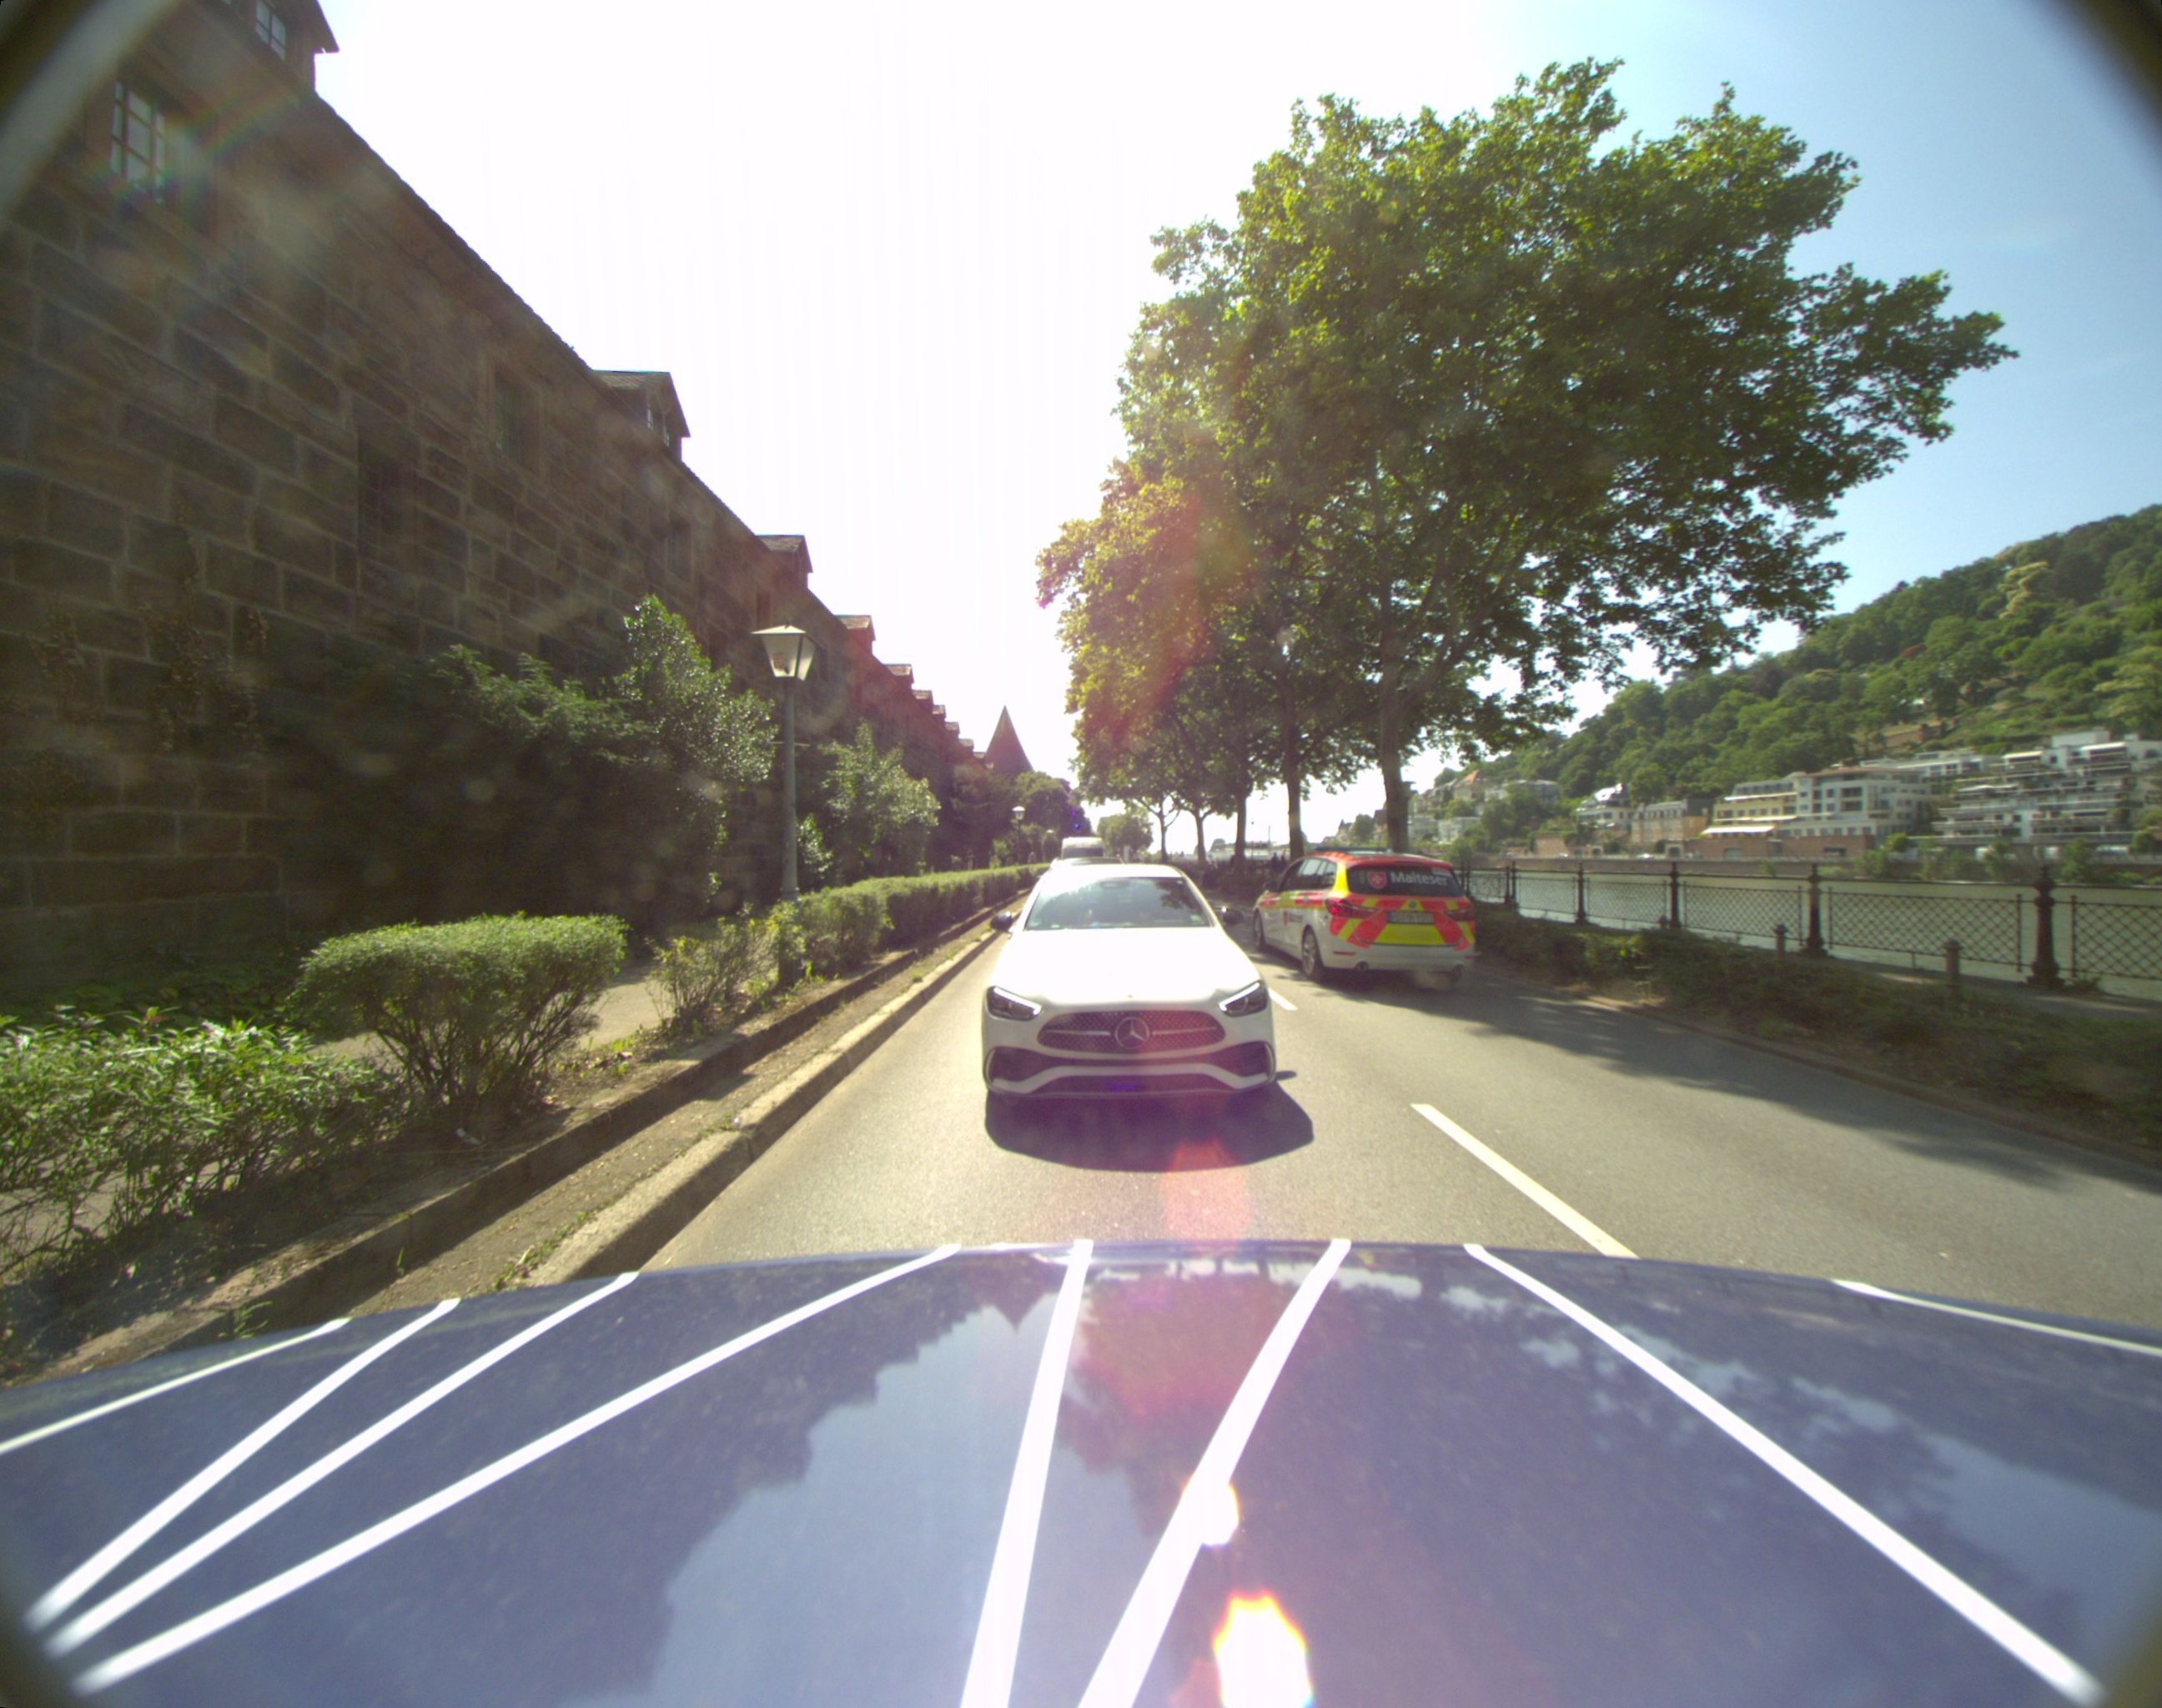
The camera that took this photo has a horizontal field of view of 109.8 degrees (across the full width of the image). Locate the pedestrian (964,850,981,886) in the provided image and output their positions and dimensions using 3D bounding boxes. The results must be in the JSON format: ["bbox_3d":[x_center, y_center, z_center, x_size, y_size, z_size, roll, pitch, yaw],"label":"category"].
[{"bbox_3d":[-4.869,0.625,34.132,0.643,1.555,0.563,-2,1,1],"label":"pedestrian"}]

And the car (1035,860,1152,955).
[{"bbox_3d":[0.231,0.880,14.401,1.833,1.428,4.270,-2,0,1],"label":"car"}]

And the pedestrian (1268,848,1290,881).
[{"bbox_3d":[12.245,0.629,46.945,1.047,2.002,1.036,-1,1,31],"label":"pedestrian"}]

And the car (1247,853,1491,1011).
[{"bbox_3d":[3.582,0.845,10.348,1.677,1.650,4.223,2,0,0],"label":"car"}]

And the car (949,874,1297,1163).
[{"bbox_3d":[0.257,0.946,6.242,1.833,1.395,4.270,-2,0,1],"label":"car"}]

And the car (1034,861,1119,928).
[{"bbox_3d":[-0.075,0.919,19.103,1.833,1.395,4.424,-2,0,1],"label":"car"}]

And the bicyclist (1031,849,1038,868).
[{"bbox_3d":[-3.750,0.378,61.412,0.550,1.513,0.583,-2,1,-1],"label":"bicyclist"}]

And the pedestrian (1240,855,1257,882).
[{"bbox_3d":[10.570,0.908,48.093,0.897,1.625,1.059,-2,1,6],"label":"pedestrian"}]

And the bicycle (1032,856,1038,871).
[{"bbox_3d":[-3.728,0.772,61.354,0.406,1.169,1.576,-2,1,-2],"label":"bicycle"}]

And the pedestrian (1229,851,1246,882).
[{"bbox_3d":[9.786,0.772,47.633,0.806,1.839,0.929,-2,1,1],"label":"pedestrian"}]

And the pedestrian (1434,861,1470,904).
[{"bbox_3d":[12.012,0.908,24.593,0.768,1.379,0.770,1,0,0],"label":"pedestrian"}]

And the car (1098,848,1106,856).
[{"bbox_3d":[5.962,-0.575,216.424,2.165,2.002,4.000,-2,1,1],"label":"car"}]

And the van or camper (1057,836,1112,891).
[{"bbox_3d":[0.150,0.407,35.422,2.313,2.358,5.035,1,0,0],"label":"van or camper"}]

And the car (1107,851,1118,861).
[{"bbox_3d":[6.532,0.429,159.848,2.165,2.002,4.000,-2,1,1],"label":"car"}]

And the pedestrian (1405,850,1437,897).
[{"bbox_3d":[12.778,0.719,28.571,0.777,1.748,0.830,1,1,0],"label":"pedestrian"}]
